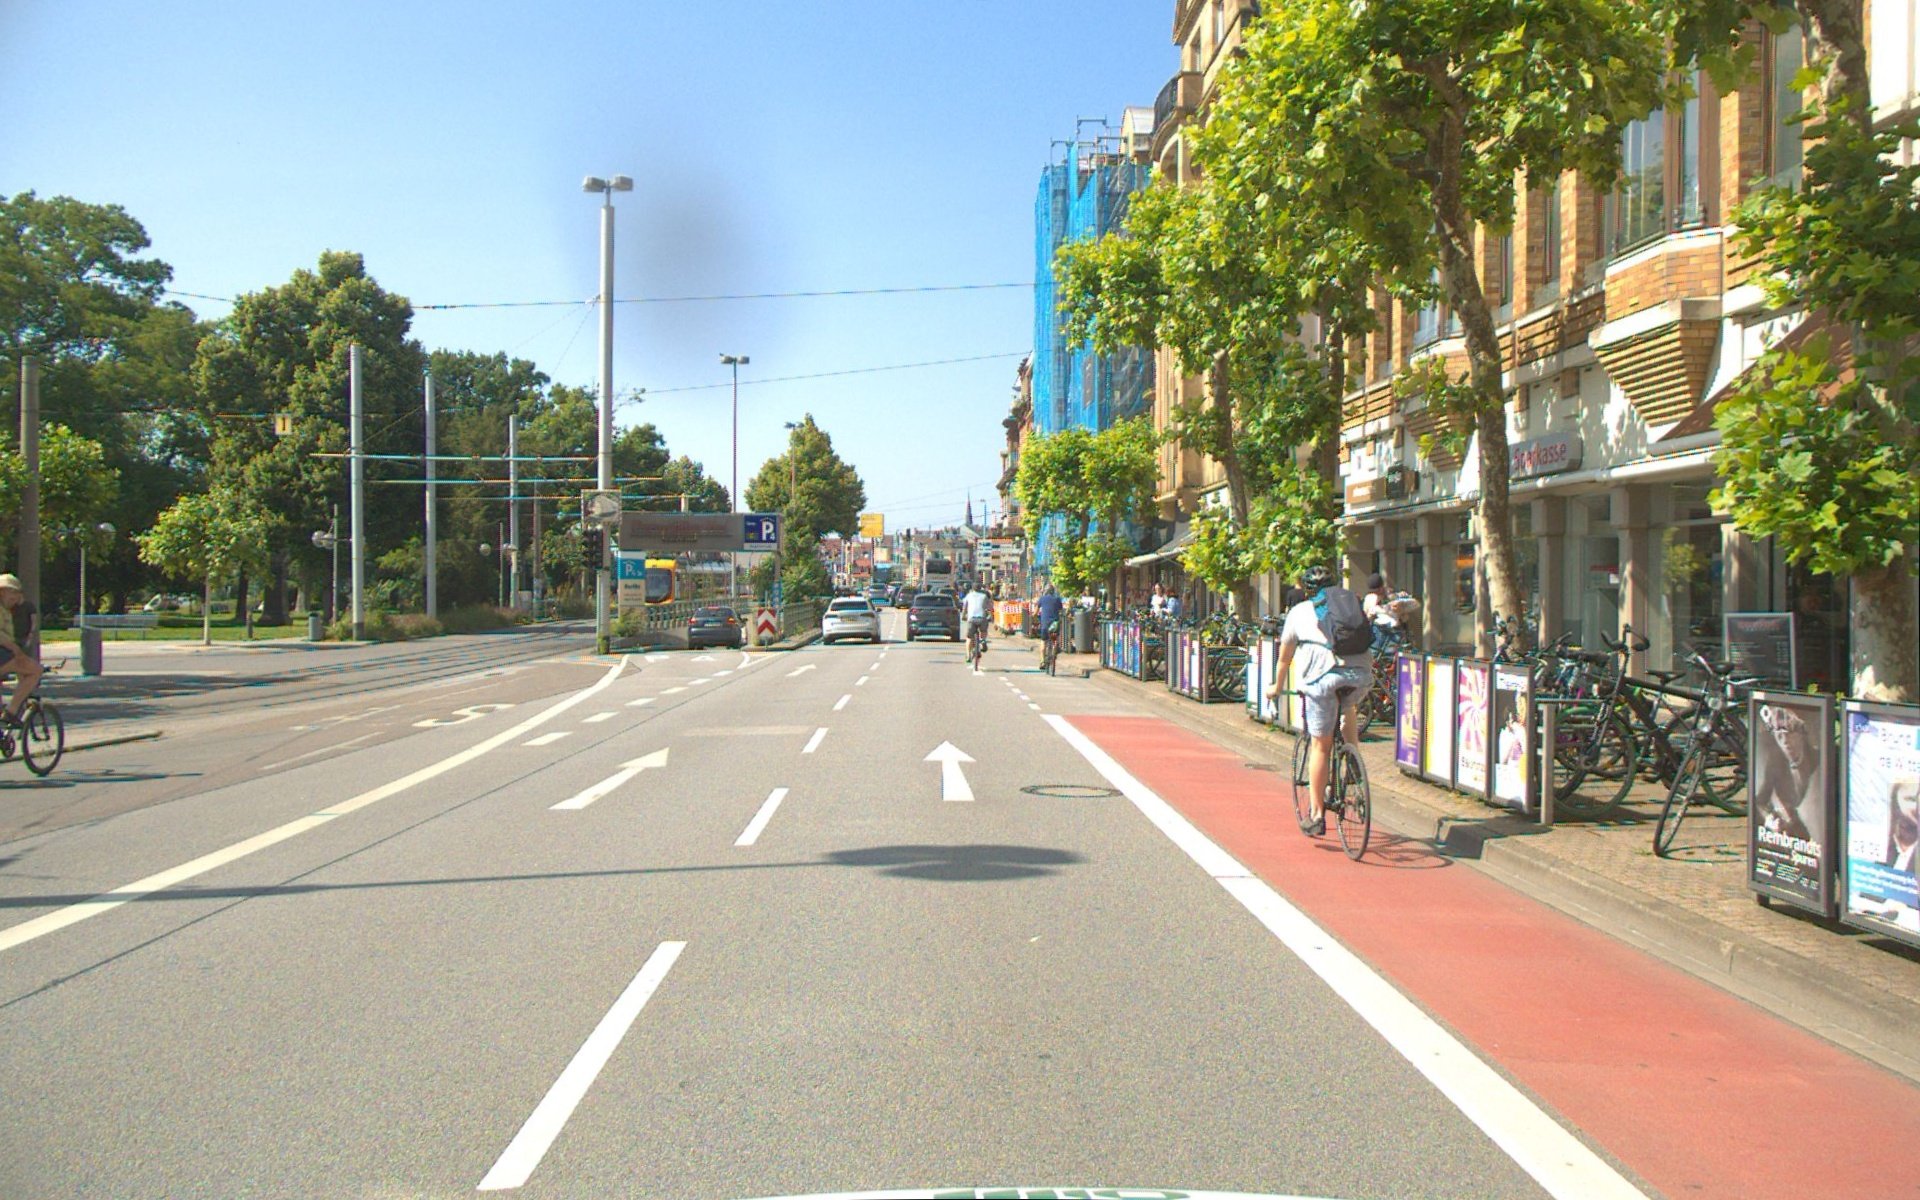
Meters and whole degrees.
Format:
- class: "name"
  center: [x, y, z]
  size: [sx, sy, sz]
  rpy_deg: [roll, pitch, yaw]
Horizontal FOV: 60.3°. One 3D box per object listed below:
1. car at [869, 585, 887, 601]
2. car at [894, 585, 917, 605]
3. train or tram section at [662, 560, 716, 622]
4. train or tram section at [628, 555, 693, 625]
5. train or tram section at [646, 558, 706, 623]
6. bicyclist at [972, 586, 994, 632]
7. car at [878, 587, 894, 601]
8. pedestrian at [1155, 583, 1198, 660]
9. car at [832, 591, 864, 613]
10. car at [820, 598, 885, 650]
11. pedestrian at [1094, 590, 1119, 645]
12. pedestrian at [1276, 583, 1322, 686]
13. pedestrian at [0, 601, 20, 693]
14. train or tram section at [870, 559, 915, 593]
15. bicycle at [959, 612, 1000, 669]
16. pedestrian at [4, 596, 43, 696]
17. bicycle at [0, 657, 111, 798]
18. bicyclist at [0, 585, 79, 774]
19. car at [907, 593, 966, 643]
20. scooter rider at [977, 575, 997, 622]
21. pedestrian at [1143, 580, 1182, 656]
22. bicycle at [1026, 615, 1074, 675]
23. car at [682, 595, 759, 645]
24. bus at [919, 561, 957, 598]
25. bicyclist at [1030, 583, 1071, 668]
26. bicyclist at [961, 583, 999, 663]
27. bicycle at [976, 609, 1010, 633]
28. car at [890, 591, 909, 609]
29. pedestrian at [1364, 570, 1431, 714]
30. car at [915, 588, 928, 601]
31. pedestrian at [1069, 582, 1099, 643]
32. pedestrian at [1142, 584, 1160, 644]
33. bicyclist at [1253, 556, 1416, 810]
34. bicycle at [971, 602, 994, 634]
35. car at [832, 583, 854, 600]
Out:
- class: "car"
  center: [-7.043, -0.613, 142.247]
  size: [1.422, 1.323, 3.999]
  rpy_deg: [2, 0, -1]
- class: "car"
  center: [-3.731, -0.354, 112.816]
  size: [1.423, 1.323, 3.339]
  rpy_deg: [2, 0, -3]
- class: "train or tram section"
  center: [-16.763, -0.561, 102.542]
  size: [2.561, 3.643, 5.355]
  rpy_deg: [2, 0, -2]
- class: "train or tram section"
  center: [-16.362, -0.531, 90.725]
  size: [2.561, 3.643, 6.101]
  rpy_deg: [2, 0, -2]
- class: "train or tram section"
  center: [-16.559, -0.546, 96.811]
  size: [2.561, 3.643, 6.101]
  rpy_deg: [2, 0, -2]
- class: "bicyclist"
  center: [0.830, 0.311, 59.443]
  size: [0.674, 1.604, 1.049]
  rpy_deg: [2, 0, -3]
- class: "car"
  center: [-7.138, -0.547, 159.692]
  size: [1.422, 1.323, 3.340]
  rpy_deg: [2, 0, -2]
- class: "pedestrian"
  center: [4.763, 0.464, 36.404]
  size: [0.684, 1.654, 0.699]
  rpy_deg: [-1, 0, -16]
- class: "car"
  center: [-7.105, 0.118, 105.205]
  size: [1.778, 1.355, 3.999]
  rpy_deg: [2, 0, -1]
- class: "car"
  center: [-3.408, 0.729, 52.923]
  size: [1.821, 1.533, 3.999]
  rpy_deg: [2, 0, -1]
- class: "pedestrian"
  center: [5.109, 0.593, 57.714]
  size: [0.797, 1.881, 0.892]
  rpy_deg: [-1, -1, 6]
- class: "pedestrian"
  center: [6.073, 0.608, 29.675]
  size: [0.654, 1.812, 0.985]
  rpy_deg: [-1, 0, 2]
- class: "pedestrian"
  center: [-17.479, 0.851, 29.892]
  size: [0.513, 1.637, 0.627]
  rpy_deg: [-2, 1, 7]
- class: "train or tram section"
  center: [-7.867, -2.763, 194.662]
  size: [2.762, 3.643, 10.040]
  rpy_deg: [2, 0, 13]
- class: "bicycle"
  center: [0.397, 0.828, 34.521]
  size: [0.719, 1.112, 1.897]
  rpy_deg: [2, 0, -3]
- class: "pedestrian"
  center: [-16.856, 0.821, 29.774]
  size: [0.519, 1.763, 0.581]
  rpy_deg: [-3, 1, -32]
- class: "bicycle"
  center: [-8.627, 1.140, 15.068]
  size: [0.801, 1.140, 1.874]
  rpy_deg: [-3, 0, -2]
- class: "bicyclist"
  center: [-8.639, 0.699, 14.985]
  size: [0.801, 1.650, 0.902]
  rpy_deg: [-1, 1, -2]
- class: "car"
  center: [-0.785, 0.576, 55.184]
  size: [1.835, 1.519, 3.999]
  rpy_deg: [2, 0, -1]
- class: "scooter rider"
  center: [1.031, -0.048, 62.955]
  size: [0.674, 1.759, 0.778]
  rpy_deg: [2, 0, -2]
- class: "pedestrian"
  center: [4.545, 0.401, 37.117]
  size: [0.589, 1.654, 0.641]
  rpy_deg: [-3, 0, -17]
- class: "bicycle"
  center: [1.774, 0.886, 32.886]
  size: [0.719, 1.112, 1.910]
  rpy_deg: [2, 0, -3]
- class: "car"
  center: [-7.913, 0.643, 54.946]
  size: [1.953, 1.534, 3.999]
  rpy_deg: [2, 0, -1]
- class: "bus"
  center: [-1.790, -1.641, 136.398]
  size: [2.908, 2.825, 8.641]
  rpy_deg: [2, 0, 0]
- class: "bicyclist"
  center: [1.790, 0.498, 32.844]
  size: [0.674, 1.644, 0.918]
  rpy_deg: [2, 0, -3]
- class: "bicyclist"
  center: [0.413, 0.471, 34.410]
  size: [0.674, 1.604, 1.049]
  rpy_deg: [2, 0, -3]
- class: "bicycle"
  center: [1.725, 1.096, 86.499]
  size: [1.735, 1.199, 0.608]
  rpy_deg: [1, 0, -1]
- class: "car"
  center: [-4.562, -0.002, 124.617]
  size: [1.422, 1.323, 3.340]
  rpy_deg: [2, 0, -2]
- class: "pedestrian"
  center: [5.198, 0.493, 19.667]
  size: [0.638, 1.662, 0.731]
  rpy_deg: [2, 0, 7]
- class: "car"
  center: [-4.210, -0.570, 181.301]
  size: [1.422, 1.323, 3.340]
  rpy_deg: [2, 0, -2]
- class: "pedestrian"
  center: [3.516, 0.352, 46.865]
  size: [0.646, 1.712, 0.650]
  rpy_deg: [0, -1, -18]
- class: "pedestrian"
  center: [5.498, 0.415, 47.610]
  size: [0.373, 1.712, 0.477]
  rpy_deg: [-1, 0, 19]
- class: "bicyclist"
  center: [2.319, 0.491, 10.362]
  size: [0.674, 1.488, 1.142]
  rpy_deg: [2, 0, -3]
- class: "bicycle"
  center: [0.798, 0.643, 59.486]
  size: [0.719, 1.112, 1.897]
  rpy_deg: [2, 0, -2]
- class: "car"
  center: [-9.394, -0.680, 132.908]
  size: [1.422, 1.323, 3.999]
  rpy_deg: [2, 0, -1]
